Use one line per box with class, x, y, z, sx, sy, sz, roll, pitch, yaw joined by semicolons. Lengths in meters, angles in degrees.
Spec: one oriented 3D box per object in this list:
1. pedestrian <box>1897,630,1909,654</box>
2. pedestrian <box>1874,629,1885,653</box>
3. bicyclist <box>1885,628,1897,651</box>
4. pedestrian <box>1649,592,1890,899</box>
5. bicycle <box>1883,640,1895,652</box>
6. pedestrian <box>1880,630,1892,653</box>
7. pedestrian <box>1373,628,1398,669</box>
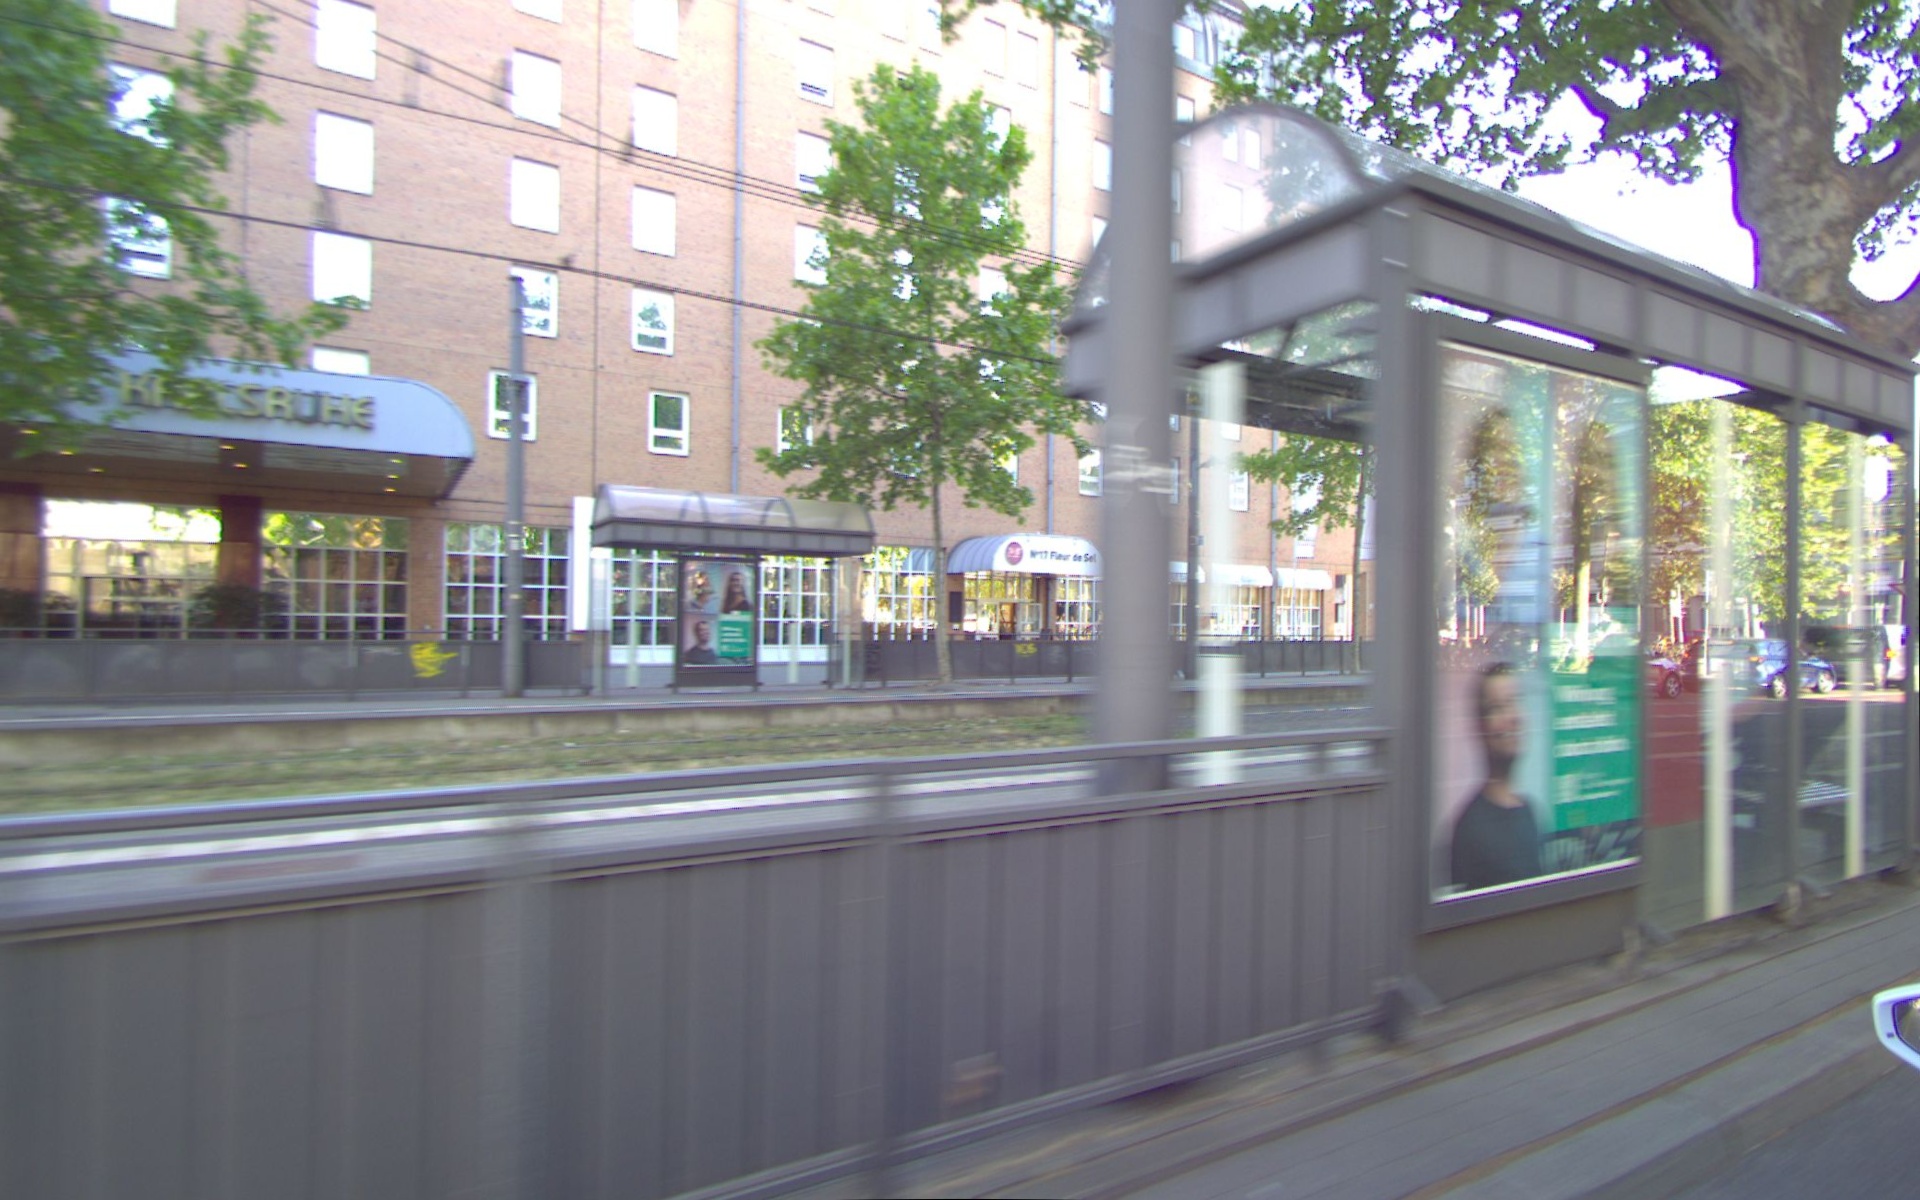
pedestrian;66.607;2.942;70.944;0.530;1.672;0.623;0;-1;38
pedestrian;65.481;2.902;71.549;0.530;1.672;0.623;0;-1;38
bicyclist;70.909;3.013;76.521;0.783;1.697;0.588;1;-1;-39
pedestrian;4.081;0.678;5.090;0.632;1.406;0.731;2;0;-28
bicycle;70.799;3.530;76.571;1.825;0.893;0.508;2;-2;-41
pedestrian;66.592;2.977;72.227;0.530;1.672;0.623;0;-1;38
pedestrian;17.130;1.953;40.449;0.718;1.606;0.585;1;1;-34
